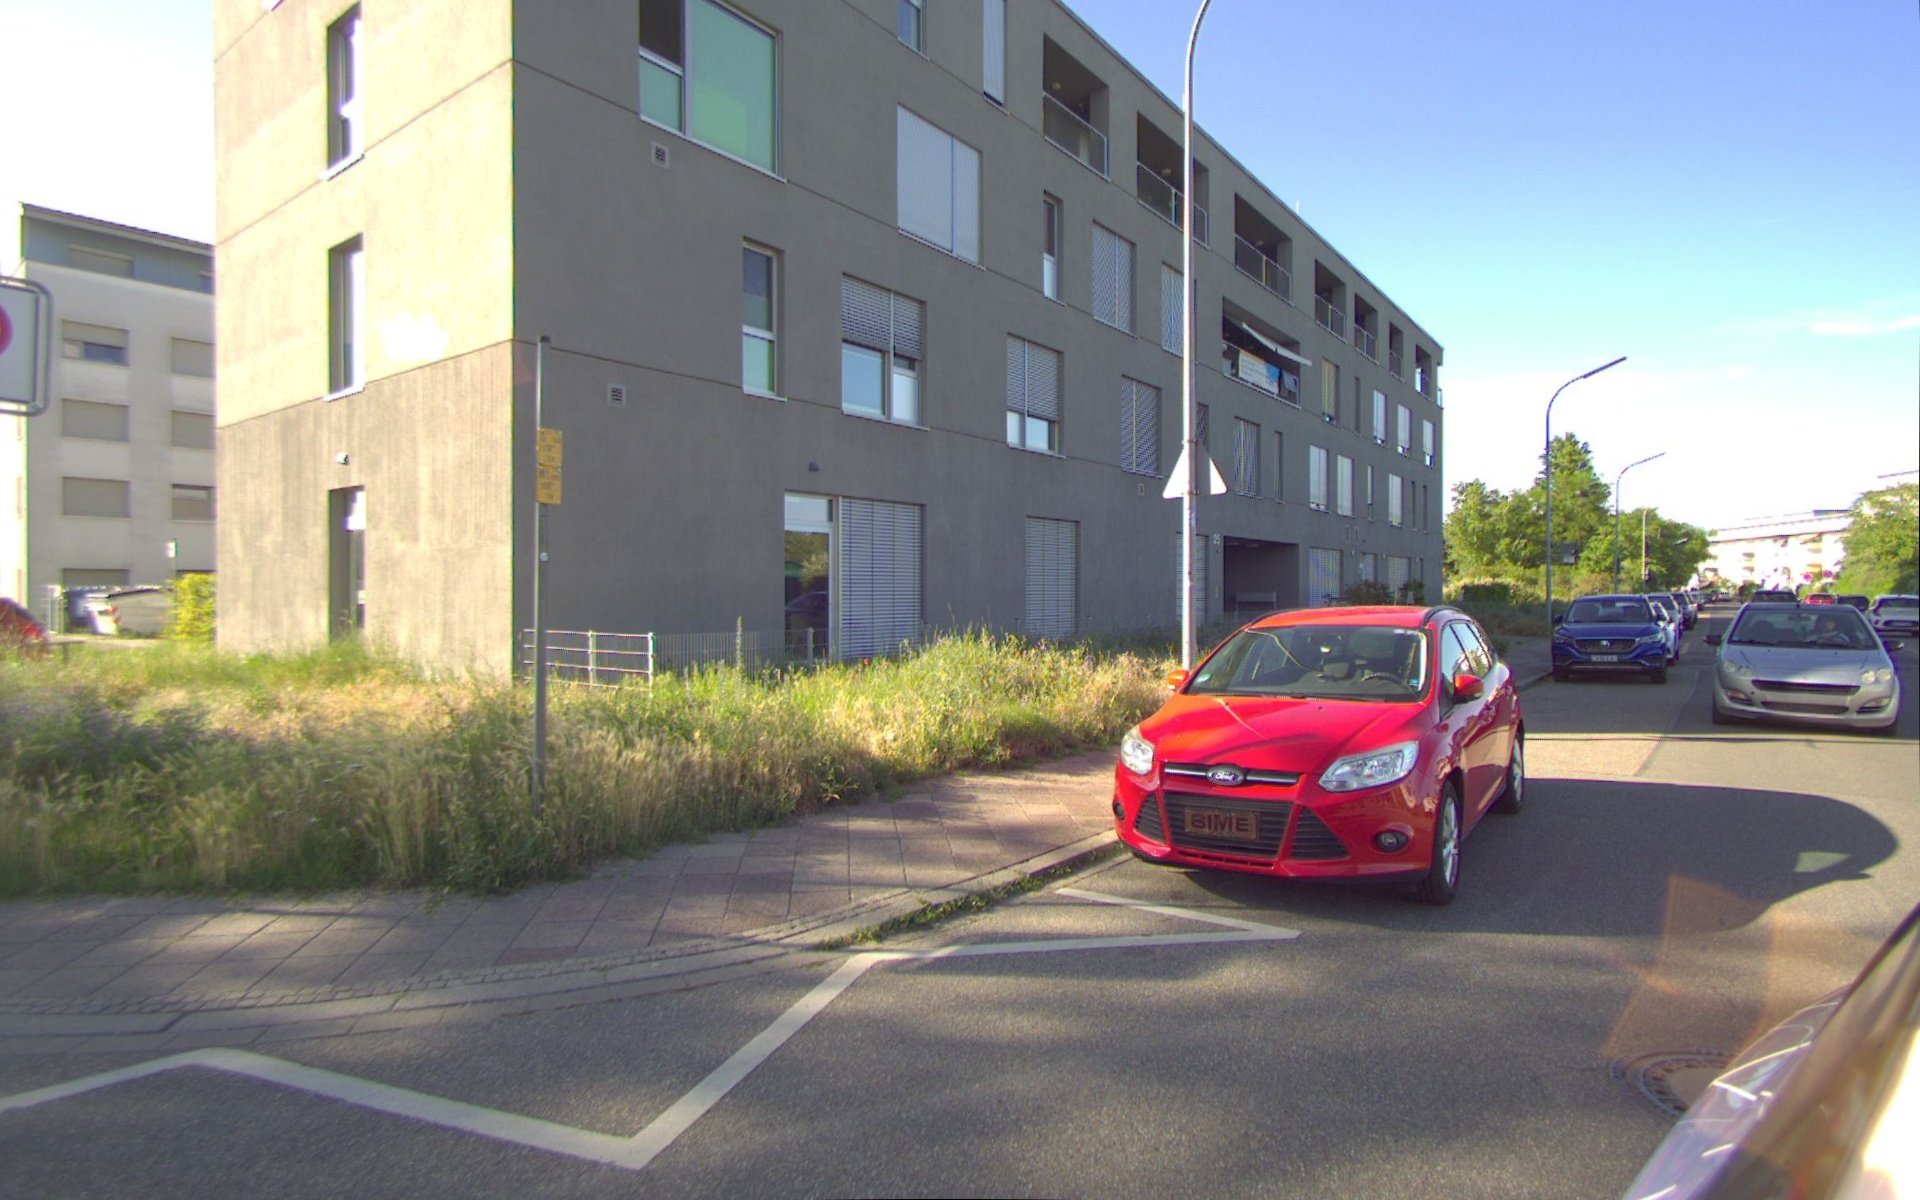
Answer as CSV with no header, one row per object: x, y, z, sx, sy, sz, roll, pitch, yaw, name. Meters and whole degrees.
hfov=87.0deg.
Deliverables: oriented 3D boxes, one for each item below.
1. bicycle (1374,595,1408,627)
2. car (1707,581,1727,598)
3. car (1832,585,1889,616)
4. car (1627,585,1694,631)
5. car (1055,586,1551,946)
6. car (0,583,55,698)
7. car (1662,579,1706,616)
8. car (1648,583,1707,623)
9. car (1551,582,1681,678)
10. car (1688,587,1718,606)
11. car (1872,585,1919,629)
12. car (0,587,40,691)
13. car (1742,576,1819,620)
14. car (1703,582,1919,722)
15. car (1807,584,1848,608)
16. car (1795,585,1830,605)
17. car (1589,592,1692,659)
14.987,0.359,35.191,0.551,1.074,1.815,-1,0,41,bicycle
92.266,-1.329,123.372,1.989,2.039,3.946,0,1,37,car
44.315,0.008,49.879,1.691,1.441,4.457,-2,-1,37,car
25.110,0.250,36.222,1.703,1.545,4.098,-1,0,38,car
2.531,0.682,6.596,1.814,1.518,4.393,-1,0,37,car
-14.154,0.534,12.703,1.689,1.488,3.946,1,1,38,car
36.774,-0.150,51.407,1.701,1.727,4.293,-3,-1,36,car
30.660,0.097,43.195,1.741,1.586,4.735,-2,0,39,car
12.762,0.518,19.561,1.811,1.620,4.567,-3,-1,36,car
60.966,-0.281,83.061,1.865,1.545,4.098,0,1,38,car
33.718,0.219,36.046,1.523,1.507,3.356,0,0,37,car
-15.889,0.590,14.396,1.689,1.539,3.946,1,1,38,car
35.063,-0.118,43.380,1.934,1.749,4.784,1,1,31,car
10.540,0.513,12.669,1.667,1.467,3.955,0,1,32,car
55.055,-0.289,64.304,1.691,1.447,4.328,0,1,37,car
60.854,-0.380,72.251,1.691,1.386,3.858,0,1,37,car
16.506,0.557,24.469,1.741,1.447,4.523,-2,-1,38,car
